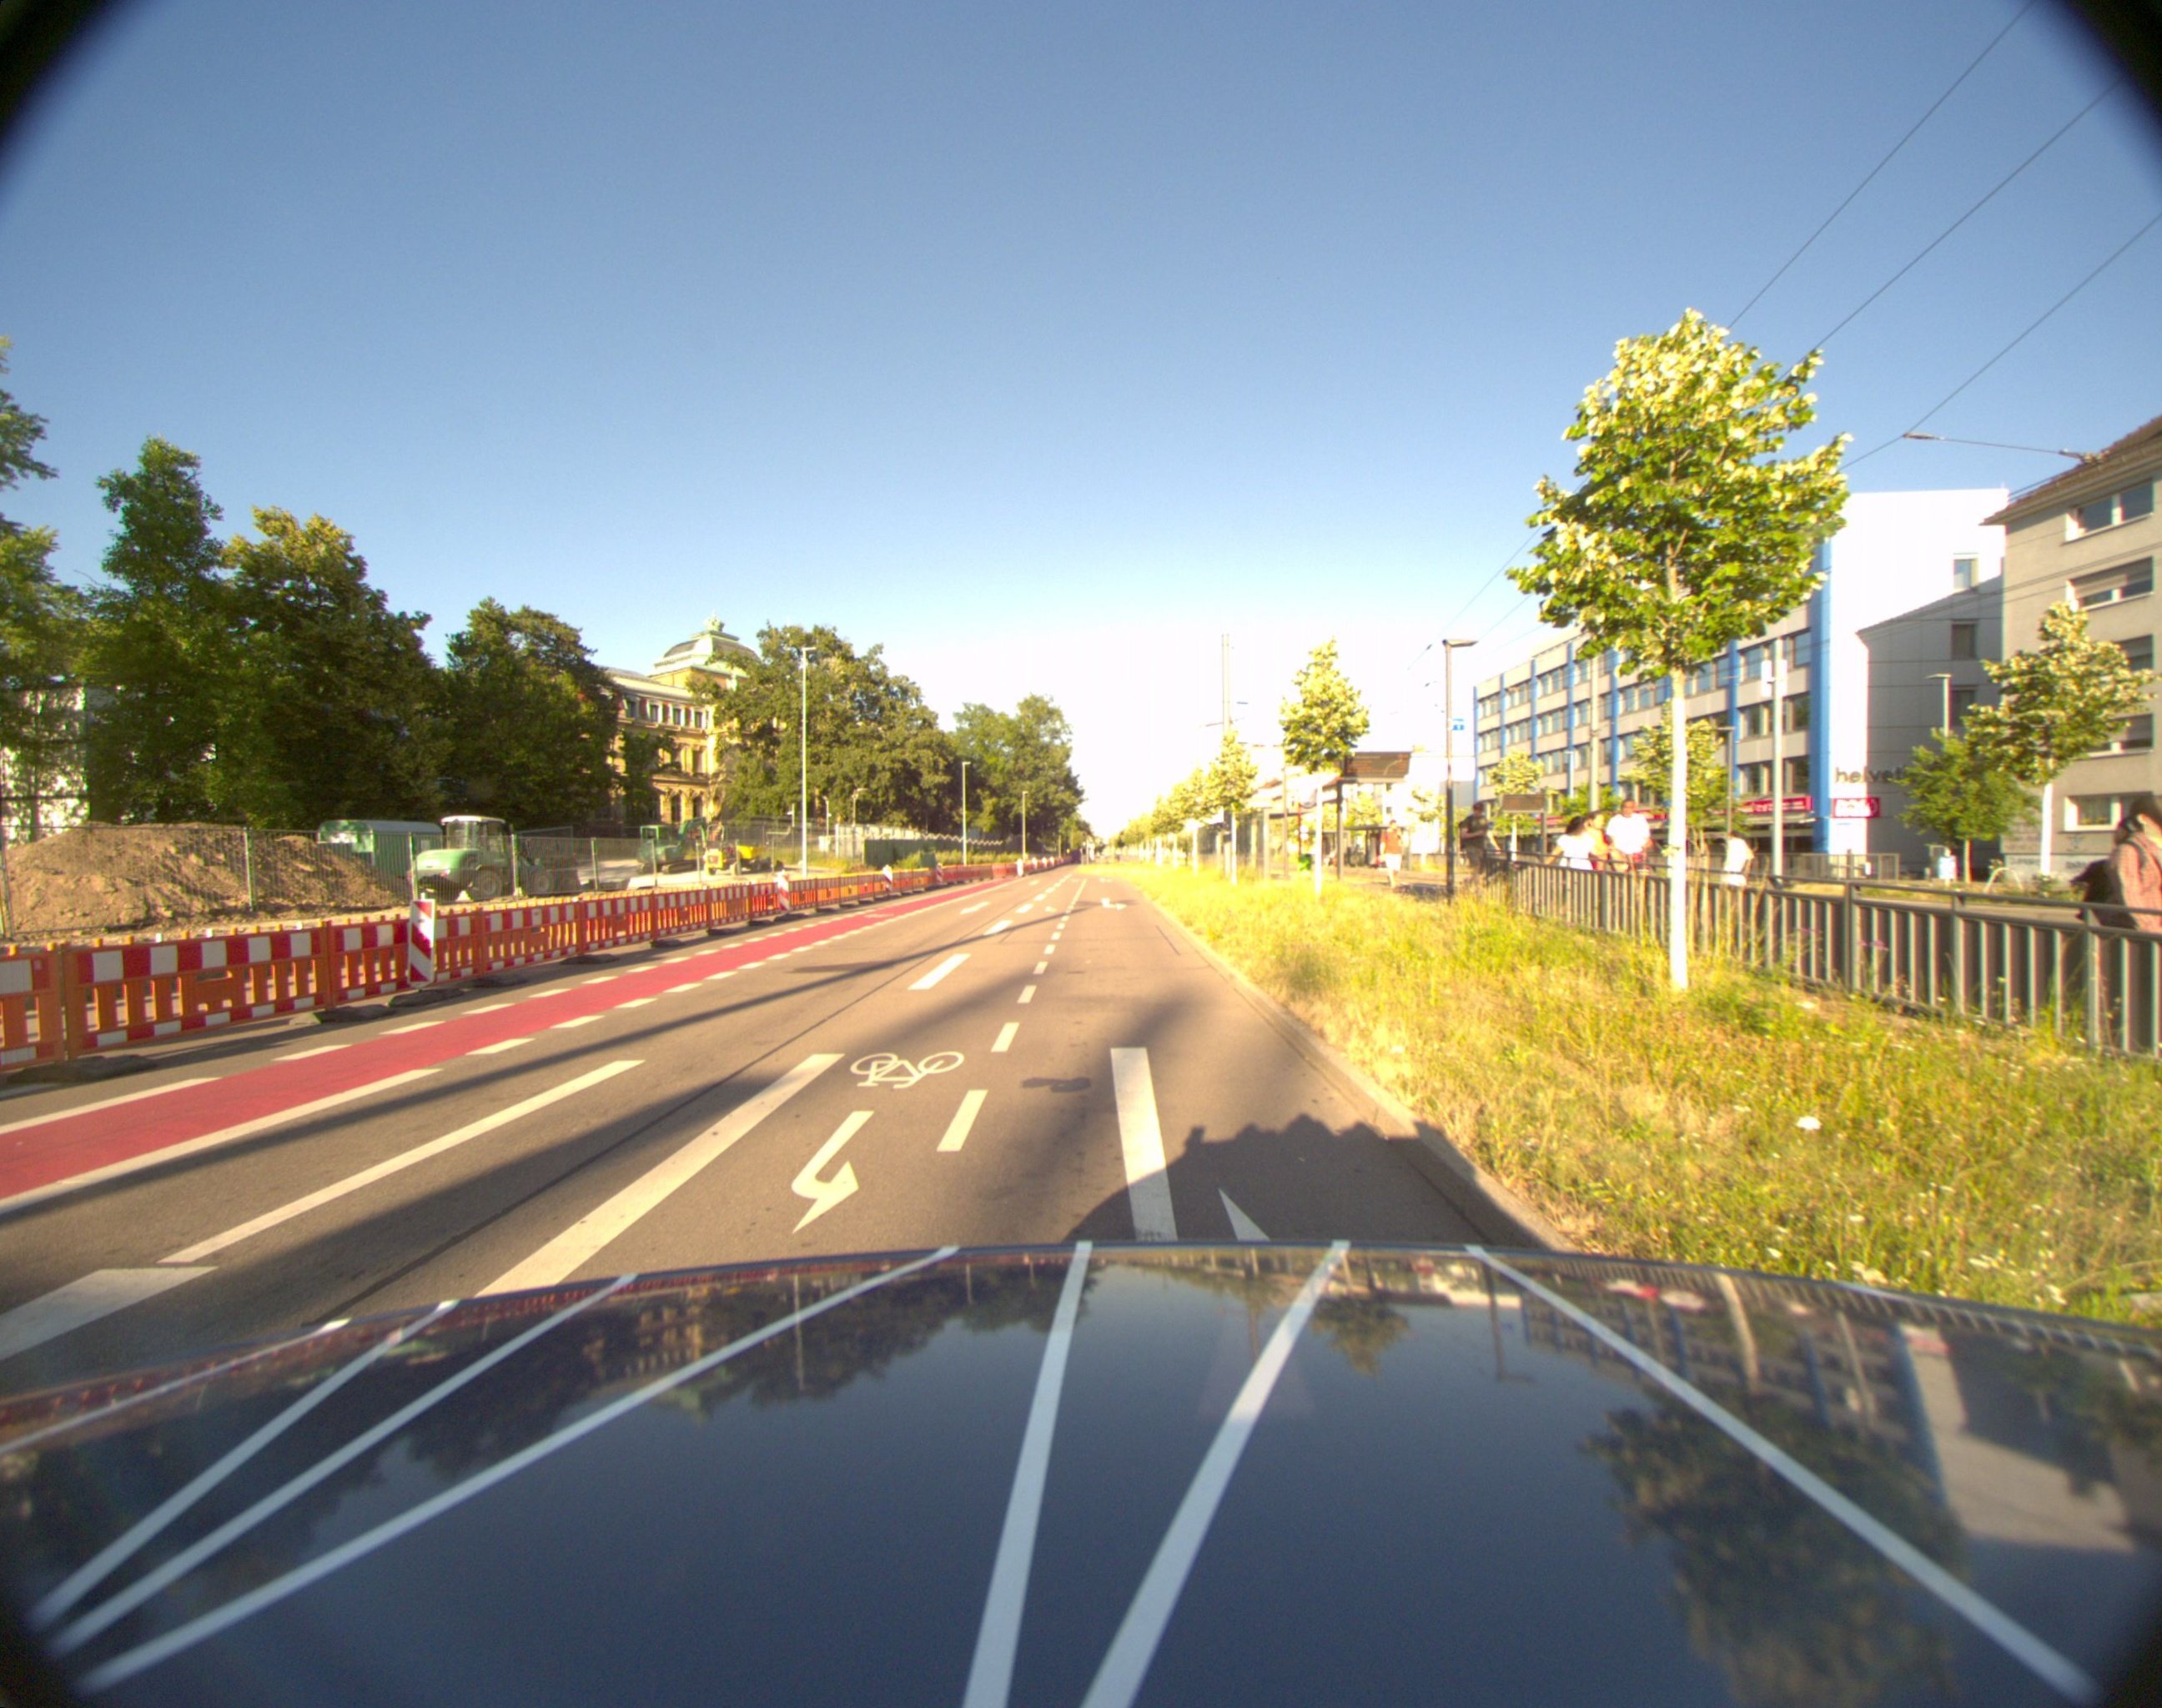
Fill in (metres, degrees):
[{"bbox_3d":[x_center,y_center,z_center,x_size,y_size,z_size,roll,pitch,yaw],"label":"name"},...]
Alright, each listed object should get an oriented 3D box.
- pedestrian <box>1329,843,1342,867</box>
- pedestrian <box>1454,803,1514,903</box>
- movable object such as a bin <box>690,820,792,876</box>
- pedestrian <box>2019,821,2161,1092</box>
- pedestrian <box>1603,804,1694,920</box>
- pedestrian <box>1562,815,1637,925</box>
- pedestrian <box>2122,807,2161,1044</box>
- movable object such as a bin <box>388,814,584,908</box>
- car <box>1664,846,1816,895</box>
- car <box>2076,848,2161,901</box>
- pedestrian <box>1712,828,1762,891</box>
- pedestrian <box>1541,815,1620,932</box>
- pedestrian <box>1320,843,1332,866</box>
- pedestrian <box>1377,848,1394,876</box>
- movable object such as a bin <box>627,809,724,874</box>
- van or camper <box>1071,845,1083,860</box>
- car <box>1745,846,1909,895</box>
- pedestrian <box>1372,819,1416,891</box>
[{"bbox_3d":[18.607,0.074,55.545,0.659,1.682,0.772,-2,1,7],"label":"pedestrian"},{"bbox_3d":[7.692,-0.016,14.513,0.787,1.853,0.619,-2,1,4],"label":"pedestrian"},{"bbox_3d":[-18.645,-0.352,42.076,1.997,2.800,5.871,-2,1,11],"label":"movable object such as a bin"},{"bbox_3d":[6.451,0.572,4.584,0.787,1.527,0.619,-2,1,5],"label":"pedestrian"},{"bbox_3d":[7.917,0.108,10.627,0.787,1.540,0.619,-2,1,4],"label":"pedestrian"},{"bbox_3d":[6.985,0.204,10.253,0.638,1.423,0.525,-2,1,2],"label":"pedestrian"},{"bbox_3d":[7.820,0.482,5.110,0.787,1.631,0.619,-2,1,-1],"label":"pedestrian"},{"bbox_3d":[-19.044,0.167,24.722,1.998,2.668,5.015,-2,1,5],"label":"movable object such as a bin"},{"bbox_3d":[22.820,0.514,26.526,1.886,1.499,3.942,-2,1,1],"label":"car"},{"bbox_3d":[33.134,0.621,22.745,1.886,1.499,3.674,-2,1,1],"label":"car"},{"bbox_3d":[17.727,0.144,20.547,0.787,1.663,0.619,-2,1,4],"label":"pedestrian"},{"bbox_3d":[6.431,0.242,9.806,0.638,1.447,0.525,-2,1,1],"label":"pedestrian"},{"bbox_3d":[18.666,0.047,57.849,0.659,1.682,0.772,-2,1,4],"label":"pedestrian"},{"bbox_3d":[18.268,0.470,45.605,0.660,1.682,0.772,-2,1,-1],"label":"pedestrian"},{"bbox_3d":[-22.425,-0.689,42.311,1.998,3.310,5.376,-2,1,5],"label":"movable object such as a bin"},{"bbox_3d":[-0.672,-0.232,135.770,1.998,2.514,5.913,-2,1,1],"label":"van or camper"},{"bbox_3d":[25.951,0.523,26.651,1.886,1.499,3.942,-2,1,1],"label":"car"},{"bbox_3d":[7.607,0.017,18.499,0.787,1.689,0.619,-2,1,4],"label":"pedestrian"}]
